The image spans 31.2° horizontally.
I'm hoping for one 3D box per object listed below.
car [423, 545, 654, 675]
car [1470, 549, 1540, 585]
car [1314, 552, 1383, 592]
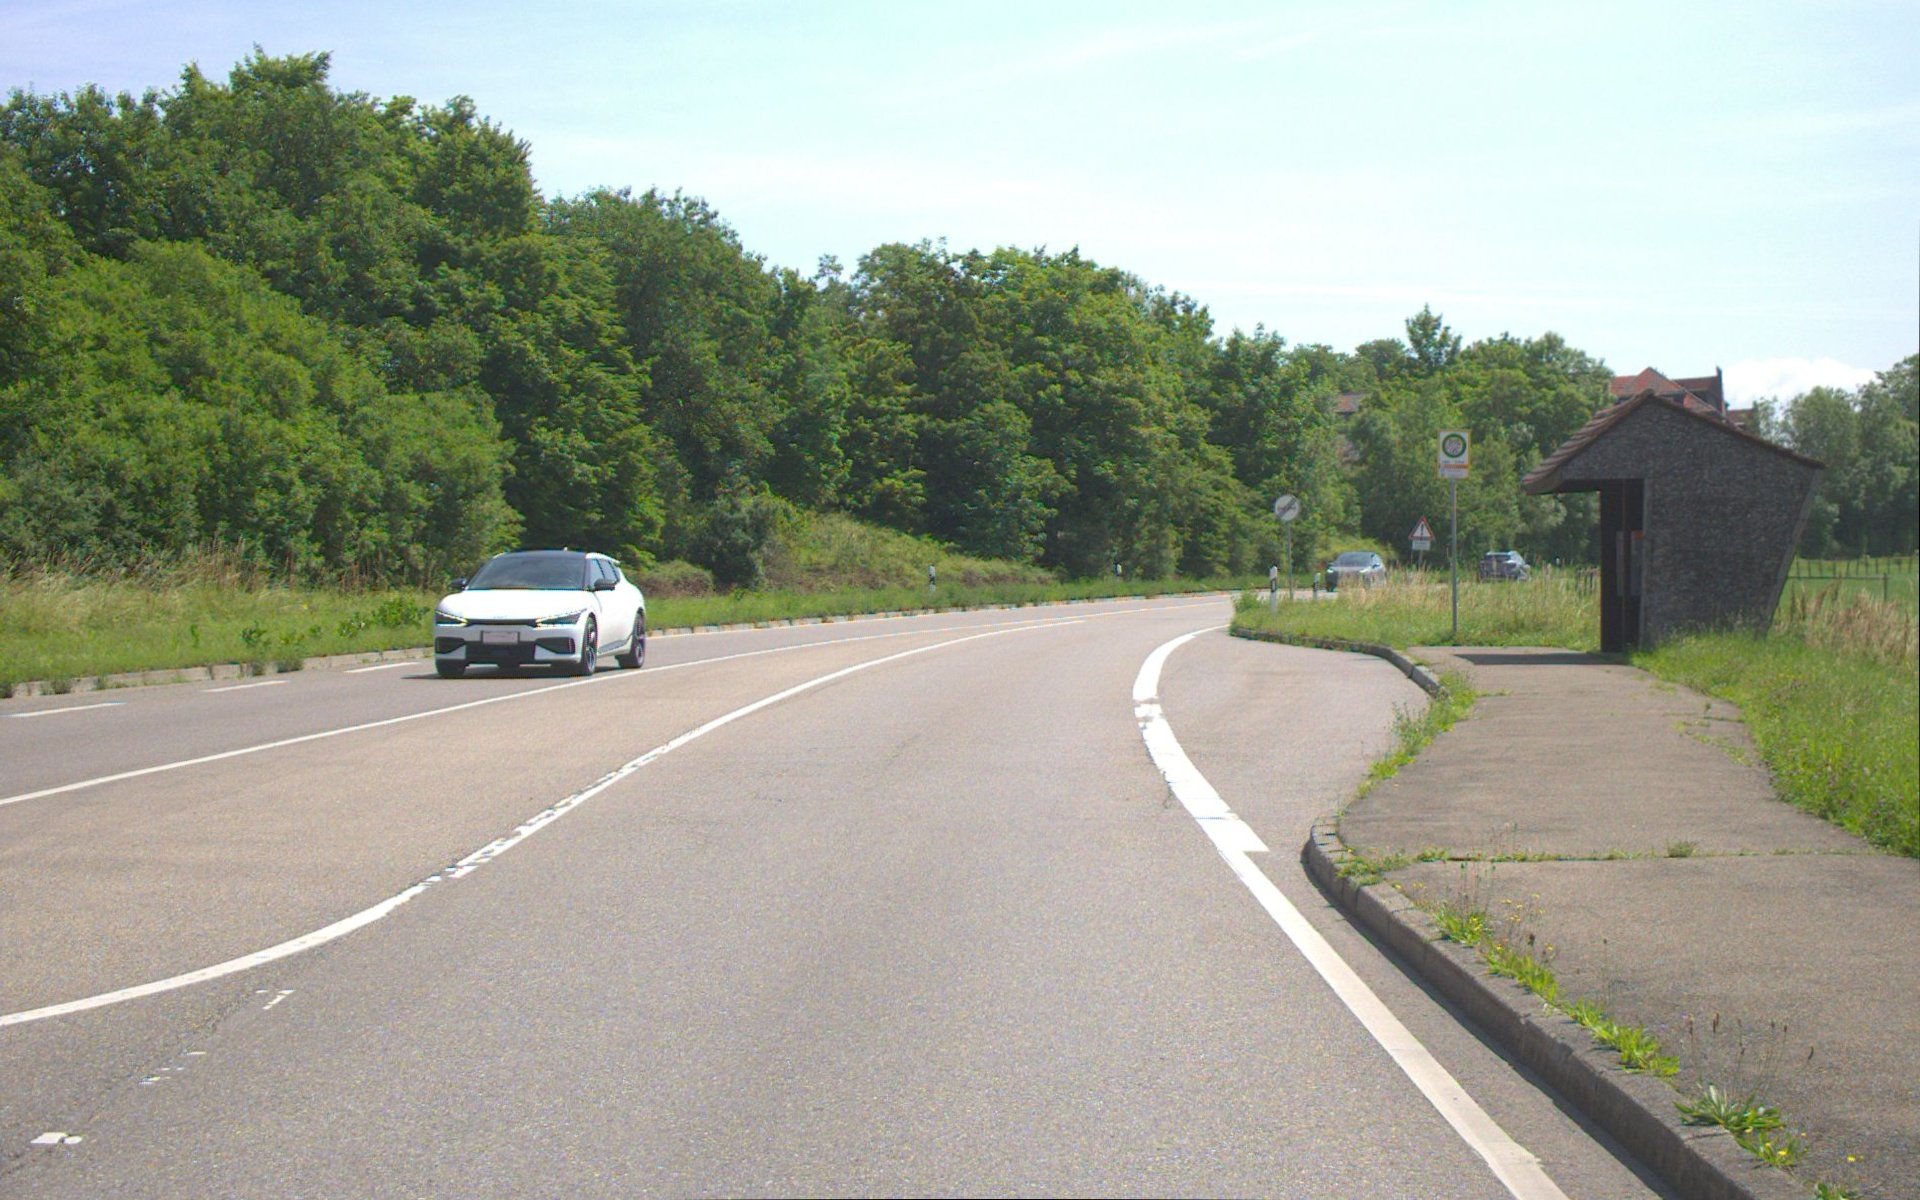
[{"bbox_3d":[-5.264,0.102,43.526,1.937,1.543,4.626,0,1,5],"label":"car"},{"bbox_3d":[23.647,-1.425,149.026,1.996,1.568,3.995,0,1,24],"label":"car"},{"bbox_3d":[15.388,-1.111,135.973,1.756,1.529,4.224,0,1,20],"label":"car"}]
